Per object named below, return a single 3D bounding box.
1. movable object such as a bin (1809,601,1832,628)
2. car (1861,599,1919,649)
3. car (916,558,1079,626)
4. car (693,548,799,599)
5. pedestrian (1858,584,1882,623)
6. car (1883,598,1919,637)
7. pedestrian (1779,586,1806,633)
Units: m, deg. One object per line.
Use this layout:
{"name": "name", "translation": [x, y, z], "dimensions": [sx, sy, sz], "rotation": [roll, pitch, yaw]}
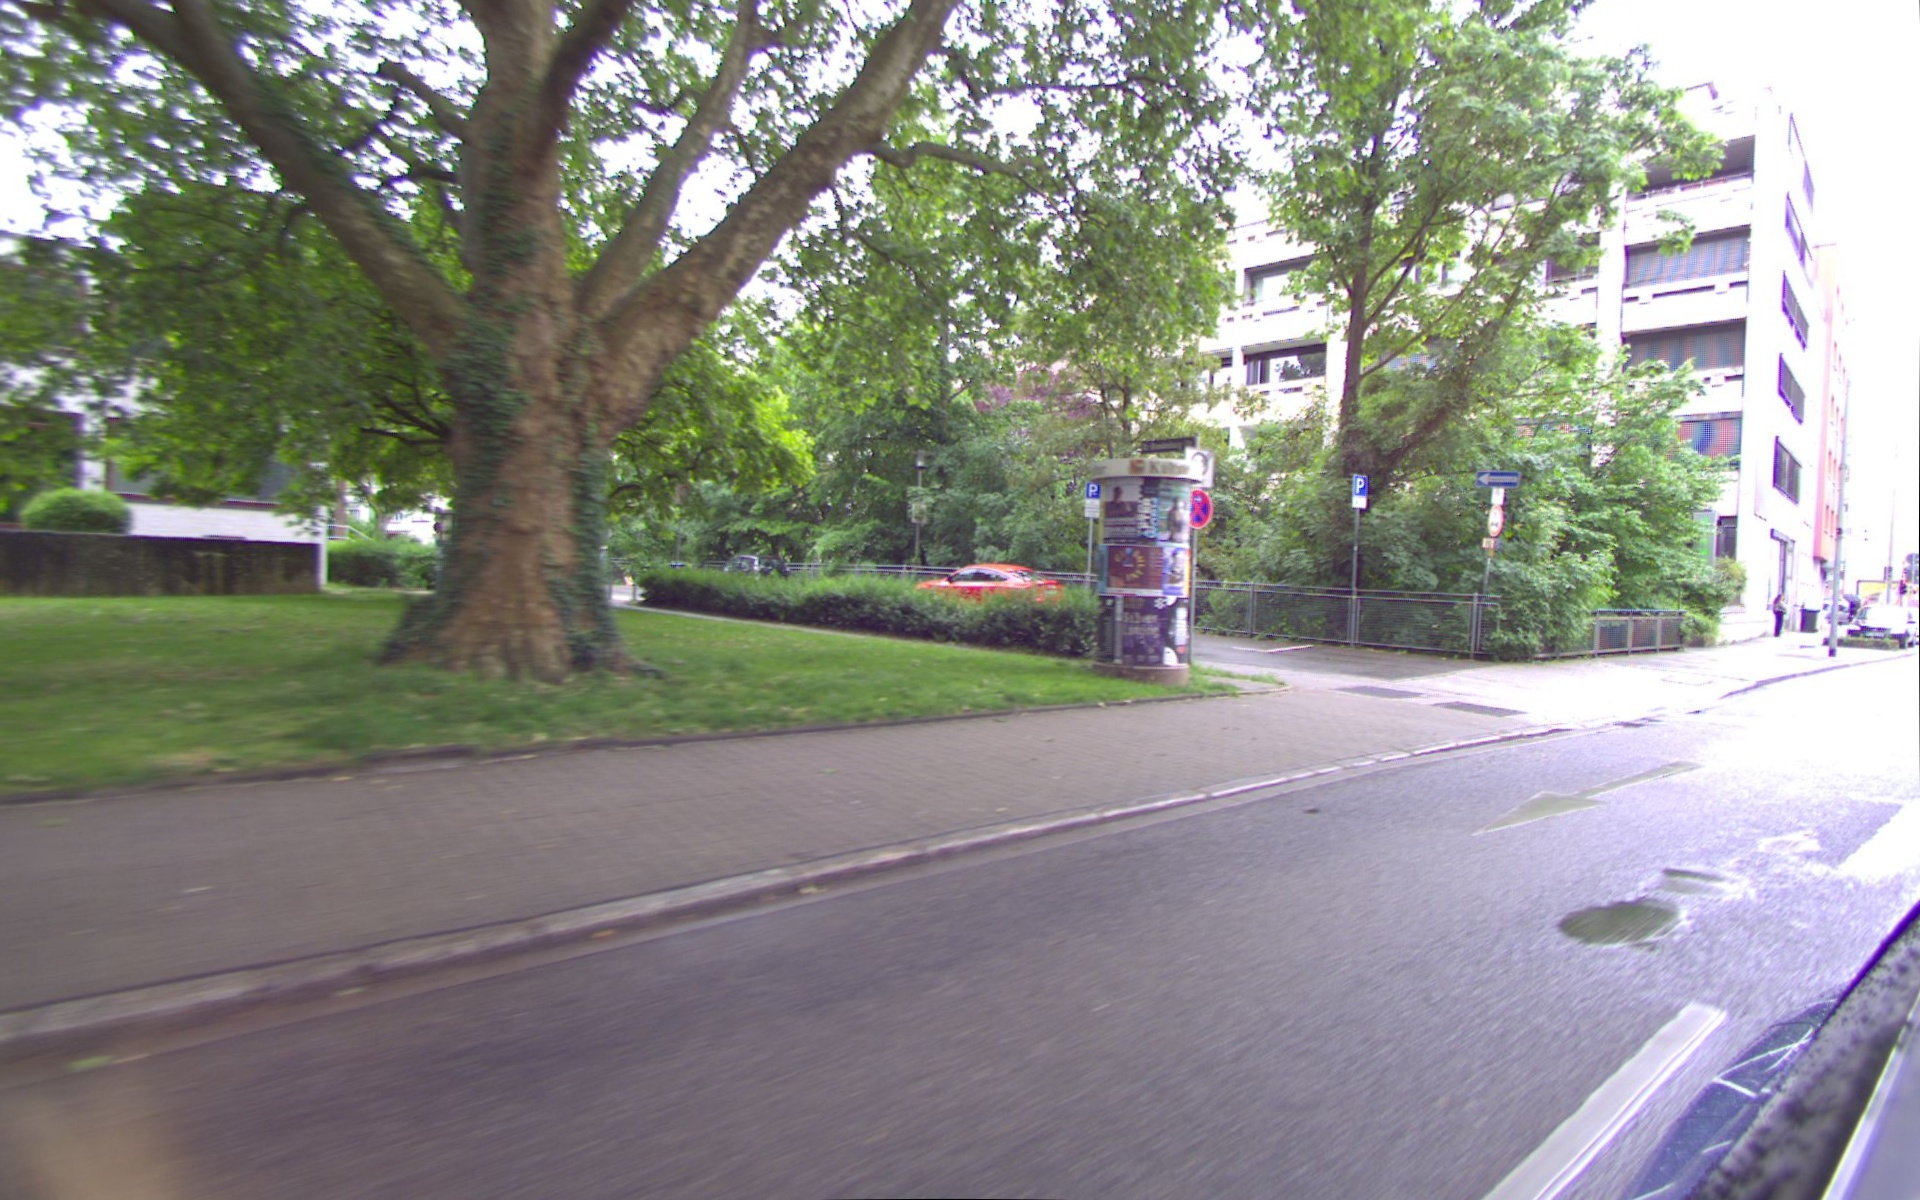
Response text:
{"name": "movable object such as a bin", "translation": [37.995, 0.637, 44.692], "dimensions": [0.505, 1.117, 0.680], "rotation": [1, 2, -42]}
{"name": "car", "translation": [33.623, 0.826, 36.158], "dimensions": [3.740, 1.577, 1.705], "rotation": [0, 3, -43]}
{"name": "car", "translation": [0.908, -0.269, 26.120], "dimensions": [3.989, 1.499, 1.847], "rotation": [5, 4, 44]}
{"name": "car", "translation": [-7.437, -0.930, 34.927], "dimensions": [1.707, 1.590, 3.925], "rotation": [0, 3, -45]}
{"name": "pedestrian", "translation": [52.483, 0.204, 58.377], "dimensions": [0.797, 2.180, 0.732], "rotation": [2, 1, 26]}
{"name": "car", "translation": [38.471, 0.721, 40.497], "dimensions": [4.492, 1.437, 1.834], "rotation": [0, 3, -43]}
{"name": "pedestrian", "translation": [30.778, 0.344, 37.400], "dimensions": [0.598, 1.679, 0.681], "rotation": [7, 4, 42]}
